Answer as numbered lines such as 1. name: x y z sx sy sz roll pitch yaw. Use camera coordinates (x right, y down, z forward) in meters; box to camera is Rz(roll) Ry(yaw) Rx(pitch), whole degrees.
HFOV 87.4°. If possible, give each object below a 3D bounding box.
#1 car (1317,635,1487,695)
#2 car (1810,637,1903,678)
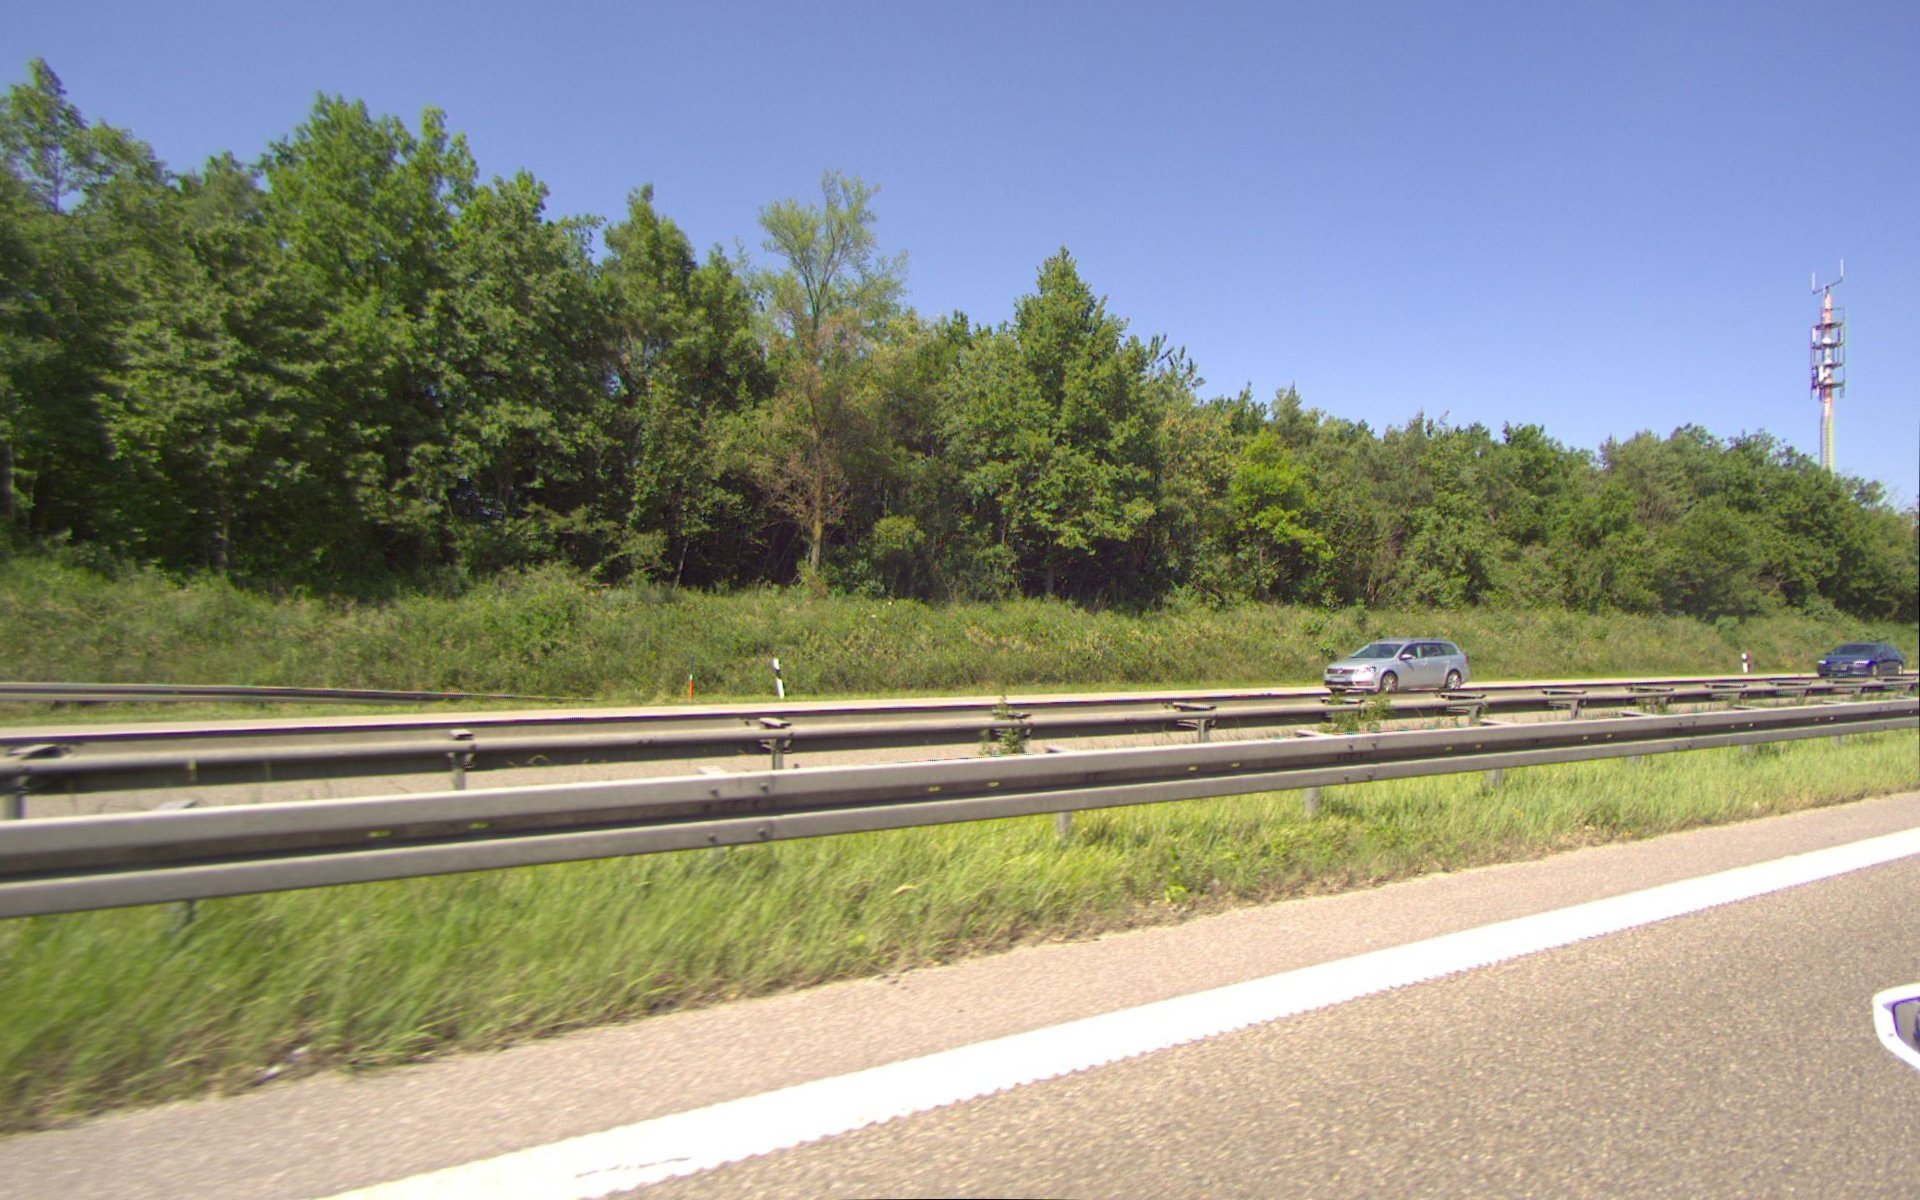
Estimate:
1. car: 12.045 1.748 27.271 4.882 1.511 1.621 1 -4 -30
2. car: 36.695 2.350 41.105 4.319 1.588 1.587 1 -4 -31
